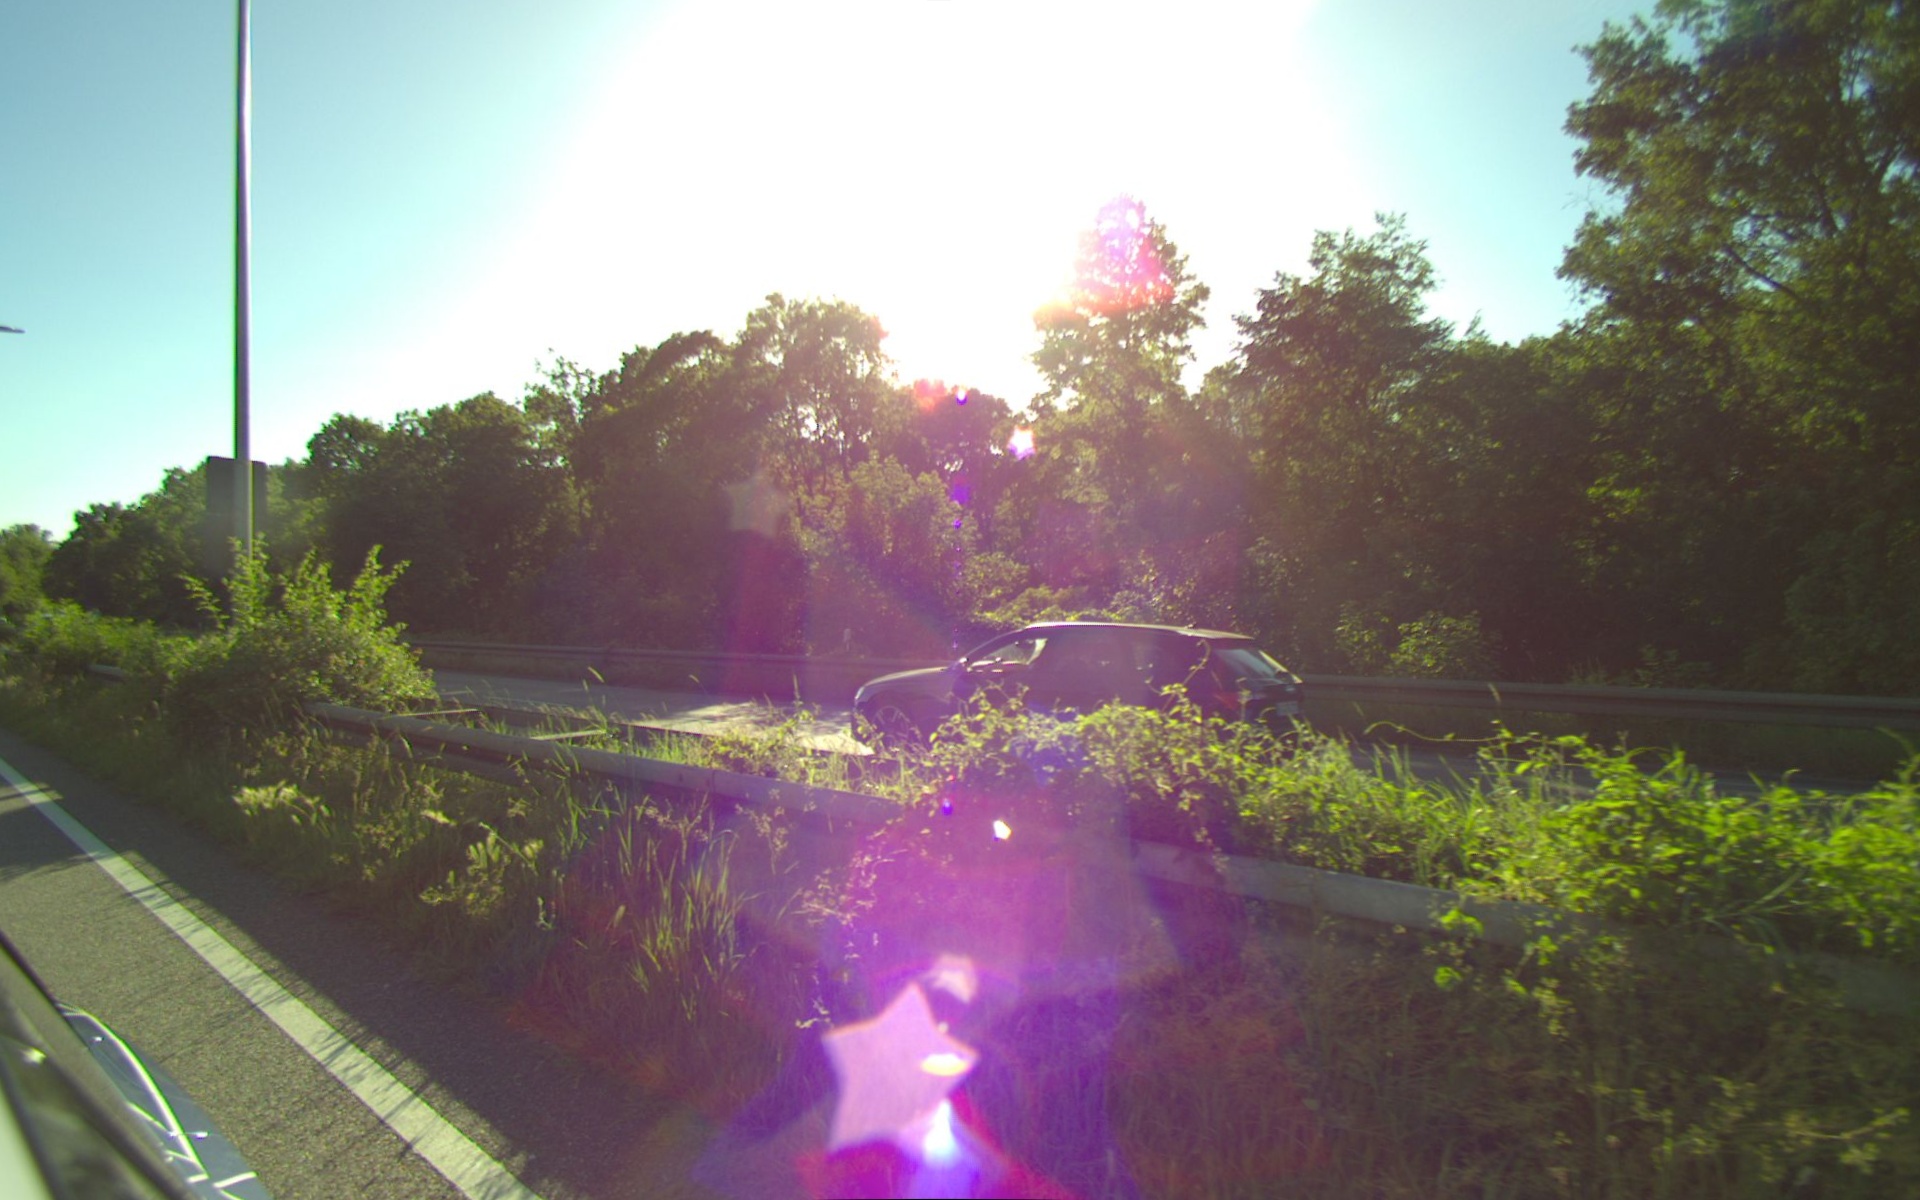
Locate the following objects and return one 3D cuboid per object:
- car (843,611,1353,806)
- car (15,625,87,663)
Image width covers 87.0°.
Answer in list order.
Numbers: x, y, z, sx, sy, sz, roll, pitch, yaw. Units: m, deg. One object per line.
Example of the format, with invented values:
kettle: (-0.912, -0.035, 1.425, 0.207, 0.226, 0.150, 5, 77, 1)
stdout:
car: (1.121, 0.880, 9.586, 4.526, 1.427, 1.787, -2, -3, 39)
car: (-39.513, 1.888, 43.952, 4.215, 1.581, 1.751, -2, -2, 40)
